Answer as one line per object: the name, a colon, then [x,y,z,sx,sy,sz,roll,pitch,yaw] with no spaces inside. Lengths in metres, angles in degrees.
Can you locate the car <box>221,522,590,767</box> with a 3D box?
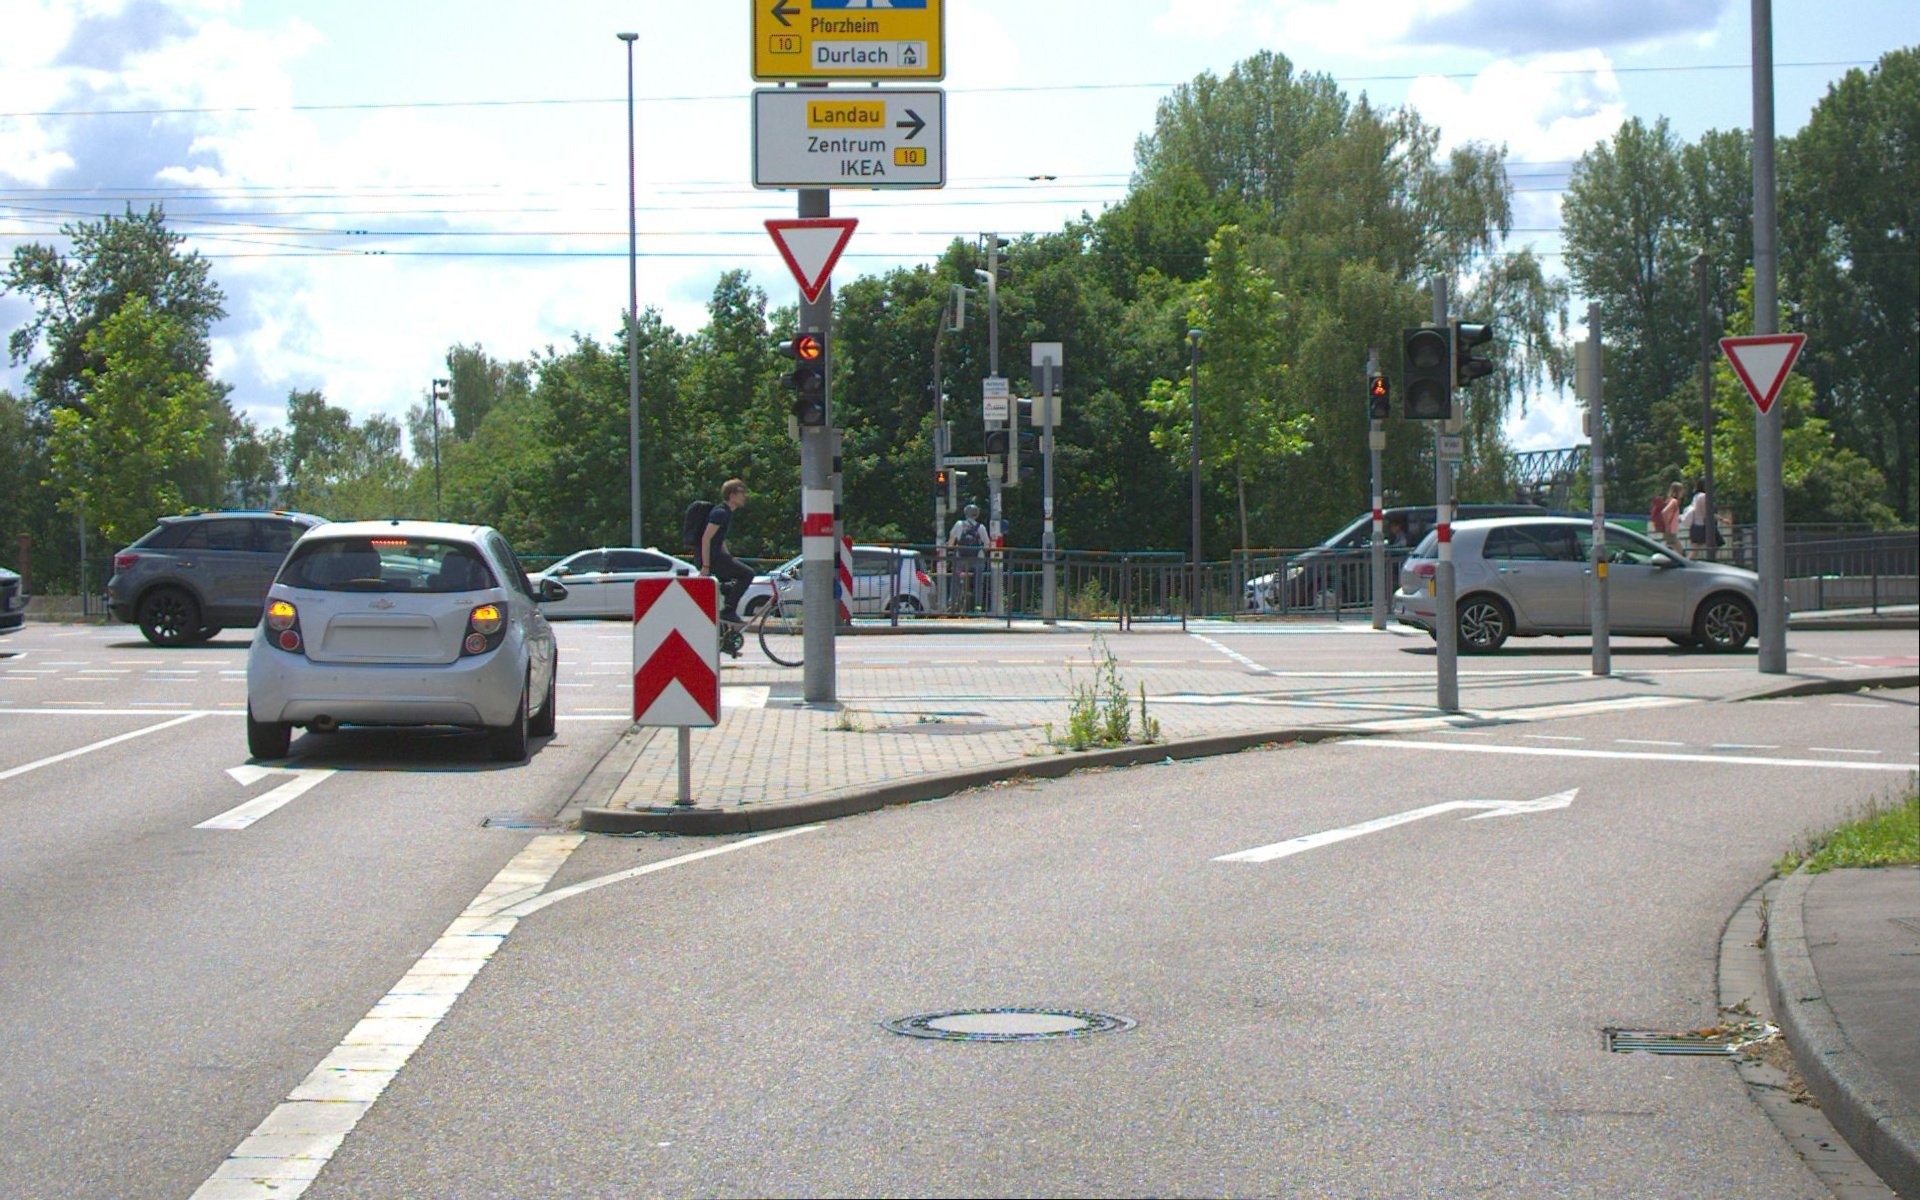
car: [-3.576,0.234,22.807,1.894,1.465,3.834,1,1,-1]

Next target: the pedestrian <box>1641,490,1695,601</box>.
pedestrian: [11.179,-0.865,54.298,0.706,1.715,0.601,-1,1,1]

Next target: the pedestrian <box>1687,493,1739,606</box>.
pedestrian: [11.699,-0.790,53.450,0.676,1.742,0.637,0,2,1]

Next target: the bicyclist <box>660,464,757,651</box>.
bicyclist: [-2.503,-0.426,34.278,0.921,1.840,0.611,-1,1,-2]

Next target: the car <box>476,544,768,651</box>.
car: [-6.076,-0.061,62.226,5.117,1.802,2.000,-1,1,-2]

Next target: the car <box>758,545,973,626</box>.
car: [-1.843,-0.287,66.451,4.027,1.459,1.934,-1,1,-5]

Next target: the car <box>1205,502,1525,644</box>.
car: [5.441,-0.376,46.532,3.986,1.776,1.910,-2,1,-3]

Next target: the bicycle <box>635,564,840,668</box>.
bicycle: [-2.210,0.153,34.288,2.017,0.996,0.622,1,2,-2]

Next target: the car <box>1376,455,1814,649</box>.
car: [6.898,-0.526,37.657,4.348,1.982,2.000,-1,1,-2]

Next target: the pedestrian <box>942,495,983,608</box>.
pedestrian: [0.036,-0.769,54.309,0.611,1.763,0.672,-1,1,0]

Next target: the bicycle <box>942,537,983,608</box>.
bicycle: [0.037,-0.441,54.349,0.619,1.084,1.722,-1,1,0]

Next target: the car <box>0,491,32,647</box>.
car: [-12.528,-0.326,37.146,4.504,1.669,1.904,0,1,-1]

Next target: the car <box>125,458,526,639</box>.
car: [-7.379,-0.605,40.351,4.348,1.982,2.000,-1,1,-2]

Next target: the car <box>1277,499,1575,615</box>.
car: [7.787,-0.724,57.723,4.651,1.814,2.000,-1,1,-2]
